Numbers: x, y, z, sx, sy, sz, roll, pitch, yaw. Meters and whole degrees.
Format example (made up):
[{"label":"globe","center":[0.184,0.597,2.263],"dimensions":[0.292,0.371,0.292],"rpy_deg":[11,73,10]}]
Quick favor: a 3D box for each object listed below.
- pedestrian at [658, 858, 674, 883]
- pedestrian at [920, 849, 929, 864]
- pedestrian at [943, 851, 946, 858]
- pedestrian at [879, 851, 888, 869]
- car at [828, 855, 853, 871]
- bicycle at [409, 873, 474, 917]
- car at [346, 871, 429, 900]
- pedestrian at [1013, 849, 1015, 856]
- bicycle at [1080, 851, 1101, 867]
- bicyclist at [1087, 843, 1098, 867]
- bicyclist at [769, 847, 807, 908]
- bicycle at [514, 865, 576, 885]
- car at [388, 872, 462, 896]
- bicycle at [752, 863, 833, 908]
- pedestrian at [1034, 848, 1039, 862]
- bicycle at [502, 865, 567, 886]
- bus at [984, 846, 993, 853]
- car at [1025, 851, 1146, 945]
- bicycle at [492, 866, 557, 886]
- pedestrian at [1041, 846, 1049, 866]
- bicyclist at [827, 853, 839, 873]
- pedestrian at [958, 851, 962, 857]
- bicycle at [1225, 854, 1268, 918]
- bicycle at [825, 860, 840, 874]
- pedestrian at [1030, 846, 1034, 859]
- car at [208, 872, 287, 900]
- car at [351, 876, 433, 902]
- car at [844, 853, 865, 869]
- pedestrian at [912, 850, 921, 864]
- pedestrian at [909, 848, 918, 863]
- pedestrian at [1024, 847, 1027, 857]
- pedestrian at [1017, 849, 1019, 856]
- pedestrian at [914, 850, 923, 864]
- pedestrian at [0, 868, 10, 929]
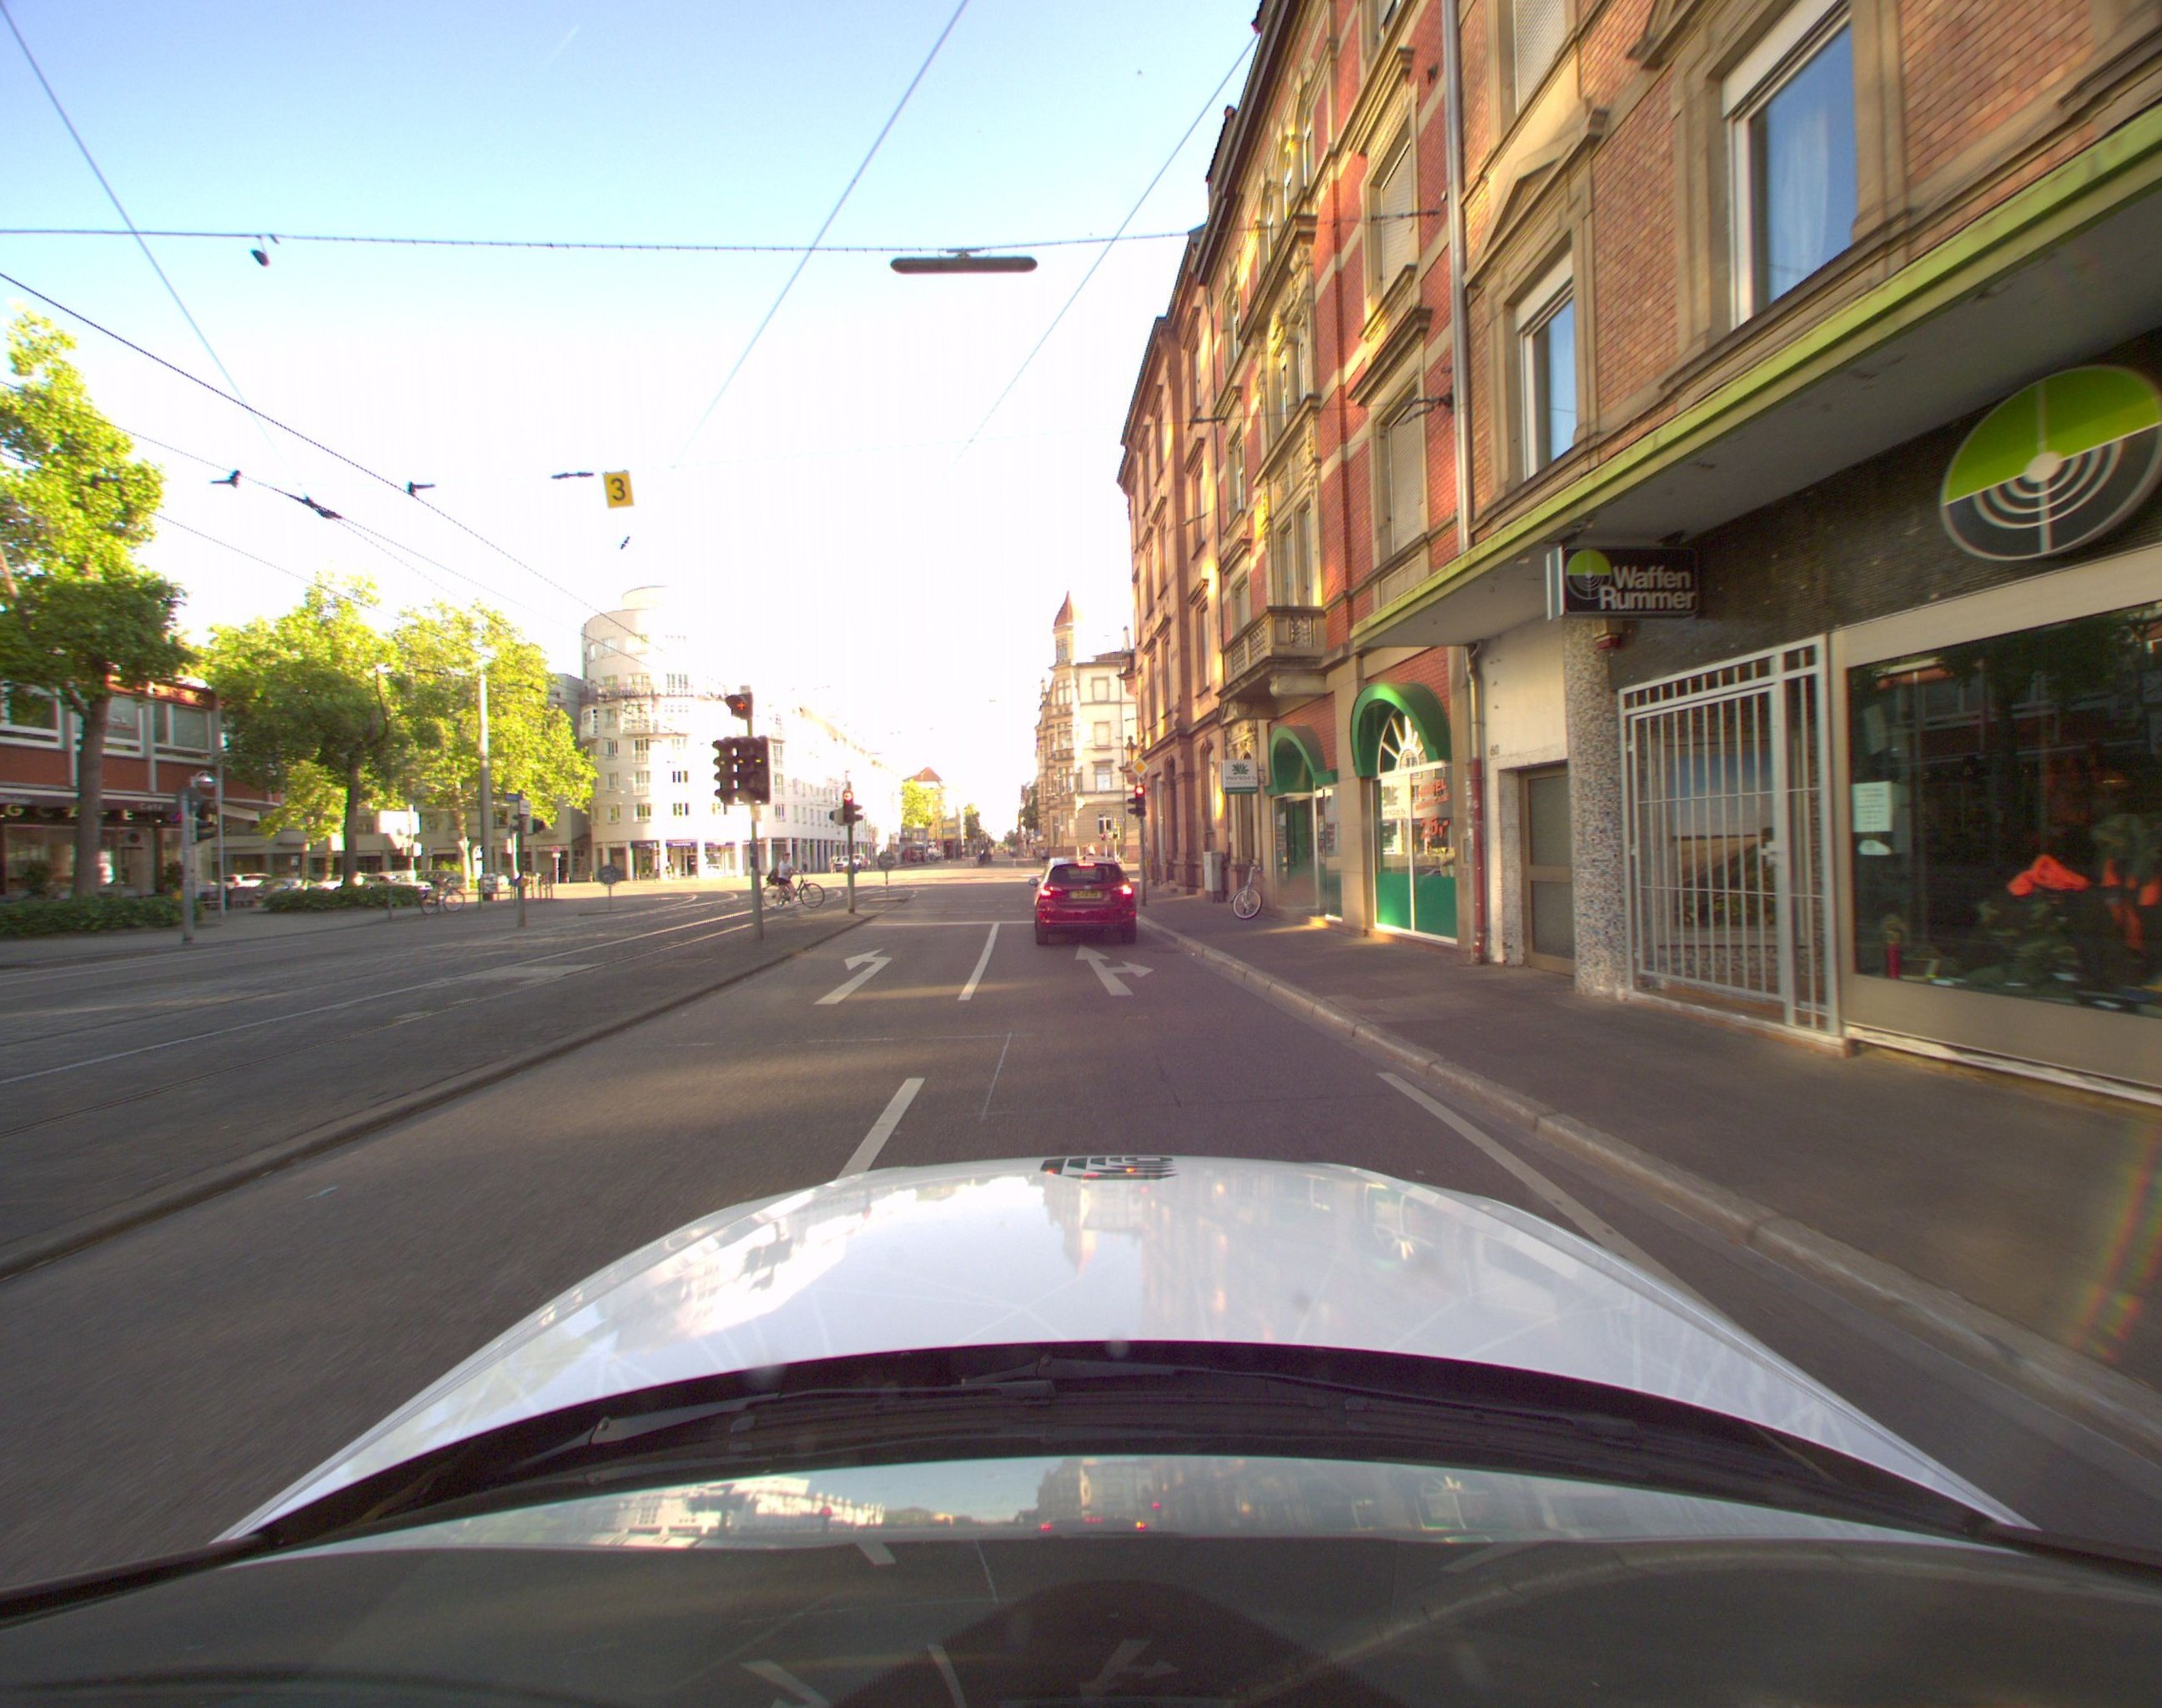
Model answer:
[{"label":"pedestrian","center":[-33.733,1.324,66.198],"dimensions":[0.950,2.013,0.931],"rpy_deg":[-2,0,-33]},{"label":"pedestrian","center":[-21.353,0.321,111.101],"dimensions":[1.044,2.013,0.957],"rpy_deg":[-2,0,-7]},{"label":"pedestrian","center":[-29.694,0.088,177.310],"dimensions":[0.523,1.488,0.582],"rpy_deg":[-2,0,-3]},{"label":"pedestrian","center":[-19.658,0.576,80.985],"dimensions":[0.767,1.730,0.572],"rpy_deg":[-2,0,-3]},{"label":"car","center":[-25.788,0.960,87.451],"dimensions":[1.762,1.546,3.456],"rpy_deg":[-2,0,-4]},{"label":"bicycle","center":[-21.054,1.338,26.849],"dimensions":[0.669,1.327,1.904],"rpy_deg":[1,0,-2]},{"label":"car","center":[-43.294,1.977,50.890],"dimensions":[3.982,1.559,1.634],"rpy_deg":[-2,1,7]},{"label":"pedestrian","center":[-17.528,-0.305,212.330],"dimensions":[0.576,1.887,0.668],"rpy_deg":[-2,0,-5]},{"label":"bicycle","center":[0.699,0.369,59.648],"dimensions":[1.467,1.089,0.531],"rpy_deg":[-2,0,41]},{"label":"bicyclist","center":[0.860,0.070,59.491],"dimensions":[0.538,1.676,0.504],"rpy_deg":[-2,0,41]},{"label":"bicyclist","center":[-8.122,0.639,22.596],"dimensions":[0.728,1.627,0.765],"rpy_deg":[-2,0,-2]},{"label":"bicycle","center":[-47.382,1.852,72.017],"dimensions":[4.691,1.530,1.066],"rpy_deg":[-2,0,-2]},{"label":"car","center":[-47.842,2.155,59.465],"dimensions":[3.974,1.531,1.616],"rpy_deg":[-2,1,0]},{"label":"bicycle","center":[-8.135,0.873,22.999],"dimensions":[2.013,1.177,0.628],"rpy_deg":[-2,0,-2]},{"label":"pedestrian","center":[-6.615,0.087,119.913],"dimensions":[0.645,2.013,0.682],"rpy_deg":[-2,0,-5]},{"label":"bicycle","center":[-47.269,1.848,70.471],"dimensions":[4.691,1.530,1.066],"rpy_deg":[-2,0,-2]},{"label":"bus","center":[-25.530,-1.203,224.977],"dimensions":[1.921,2.013,7.128],"rpy_deg":[-2,0,-3]},{"label":"car","center":[-0.056,0.691,14.947],"dimensions":[1.752,1.466,3.936],"rpy_deg":[-1,0,-7]},{"label":"bicycle","center":[-47.352,1.871,69.327],"dimensions":[4.691,1.530,1.066],"rpy_deg":[-2,0,-2]},{"label":"pedestrian","center":[-3.613,0.173,82.162],"dimensions":[0.650,2.013,0.758],"rpy_deg":[-2,0,-6]},{"label":"bicyclist","center":[-21.882,0.775,71.915],"dimensions":[0.806,1.726,0.793],"rpy_deg":[-2,0,-5]},{"label":"pedestrian","center":[-30.395,-0.039,204.440],"dimensions":[0.631,1.604,0.575],"rpy_deg":[-2,0,-22]},{"label":"bicycle","center":[3.377,0.621,16.526],"dimensions":[0.710,1.152,1.661],"rpy_deg":[-4,0,14]},{"label":"bicycle","center":[-21.864,1.154,71.800],"dimensions":[0.806,1.147,2.046],"rpy_deg":[-2,0,-5]},{"label":"pedestrian","center":[-8.075,-0.281,133.599],"dimensions":[0.575,2.013,0.631],"rpy_deg":[-2,0,1]},{"label":"car","center":[-64.373,2.430,62.989],"dimensions":[1.989,1.964,3.996],"rpy_deg":[-2,0,-3]},{"label":"car","center":[-39.682,2.022,46.906],"dimensions":[3.971,1.295,1.780],"rpy_deg":[-2,1,20]},{"label":"car","center":[-26.433,0.826,94.967],"dimensions":[1.698,1.718,3.557],"rpy_deg":[-2,0,-5]},{"label":"pedestrian","center":[-22.887,0.401,113.098],"dimensions":[1.044,2.013,0.957],"rpy_deg":[-2,0,-7]},{"label":"pedestrian","center":[-22.329,0.207,108.813],"dimensions":[0.954,2.013,1.047],"rpy_deg":[-2,0,-5]},{"label":"pedestrian","center":[-12.040,-0.404,176.552],"dimensions":[0.576,2.013,0.630],"rpy_deg":[-2,0,-4]},{"label":"pedestrian","center":[-16.106,-0.383,208.724],"dimensions":[0.576,1.887,0.630],"rpy_deg":[-2,0,-5]},{"label":"pedestrian","center":[-22.941,0.430,115.034],"dimensions":[1.044,2.013,0.957],"rpy_deg":[-2,0,-7]},{"label":"pedestrian","center":[-31.344,1.285,23.290],"dimensions":[0.642,1.722,0.602],"rpy_deg":[0,1,14]}]
